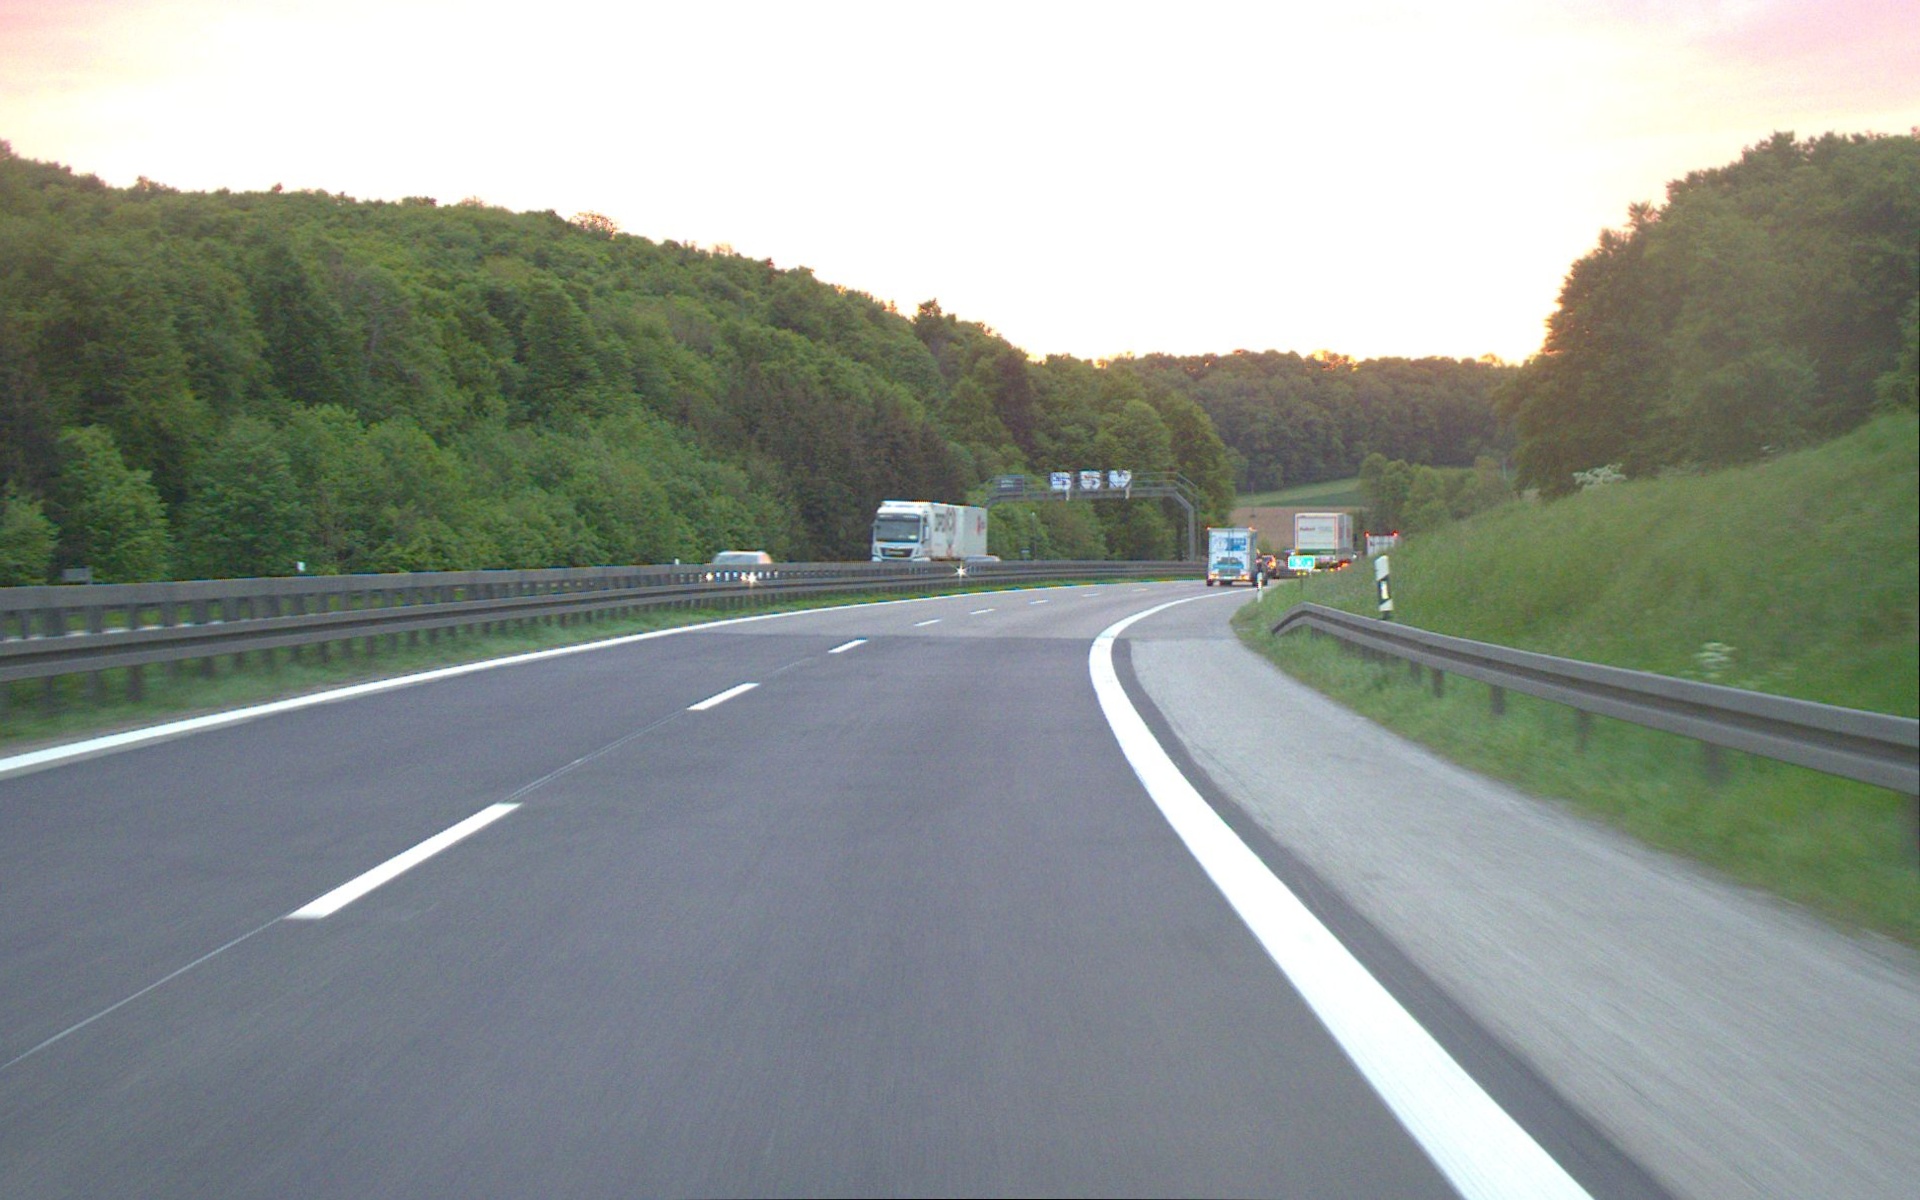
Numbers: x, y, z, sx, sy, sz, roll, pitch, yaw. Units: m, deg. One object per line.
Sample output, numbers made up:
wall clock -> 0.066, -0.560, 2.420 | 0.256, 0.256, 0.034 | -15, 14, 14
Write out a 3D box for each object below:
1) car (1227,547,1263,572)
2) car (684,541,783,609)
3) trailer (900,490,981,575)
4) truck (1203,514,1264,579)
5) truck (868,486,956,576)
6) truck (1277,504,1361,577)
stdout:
car -> 18.101, -2.579, 218.054 | 1.994, 1.512, 3.999 | -1, 1, 8
car -> -6.951, -0.783, 106.096 | 1.994, 2.007, 5.168 | -1, 1, 8
trailer -> -0.959, -3.488, 177.778 | 2.832, 4.302, 9.290 | 0, 1, 8
truck -> 12.443, -2.448, 155.991 | 2.277, 2.655, 5.235 | -2, 3, 9
truck -> -2.297, -3.353, 168.160 | 2.865, 4.266, 10.063 | 0, 1, 7
truck -> 22.277, -3.732, 212.586 | 3.960, 4.272, 14.318 | -1, 1, 11
